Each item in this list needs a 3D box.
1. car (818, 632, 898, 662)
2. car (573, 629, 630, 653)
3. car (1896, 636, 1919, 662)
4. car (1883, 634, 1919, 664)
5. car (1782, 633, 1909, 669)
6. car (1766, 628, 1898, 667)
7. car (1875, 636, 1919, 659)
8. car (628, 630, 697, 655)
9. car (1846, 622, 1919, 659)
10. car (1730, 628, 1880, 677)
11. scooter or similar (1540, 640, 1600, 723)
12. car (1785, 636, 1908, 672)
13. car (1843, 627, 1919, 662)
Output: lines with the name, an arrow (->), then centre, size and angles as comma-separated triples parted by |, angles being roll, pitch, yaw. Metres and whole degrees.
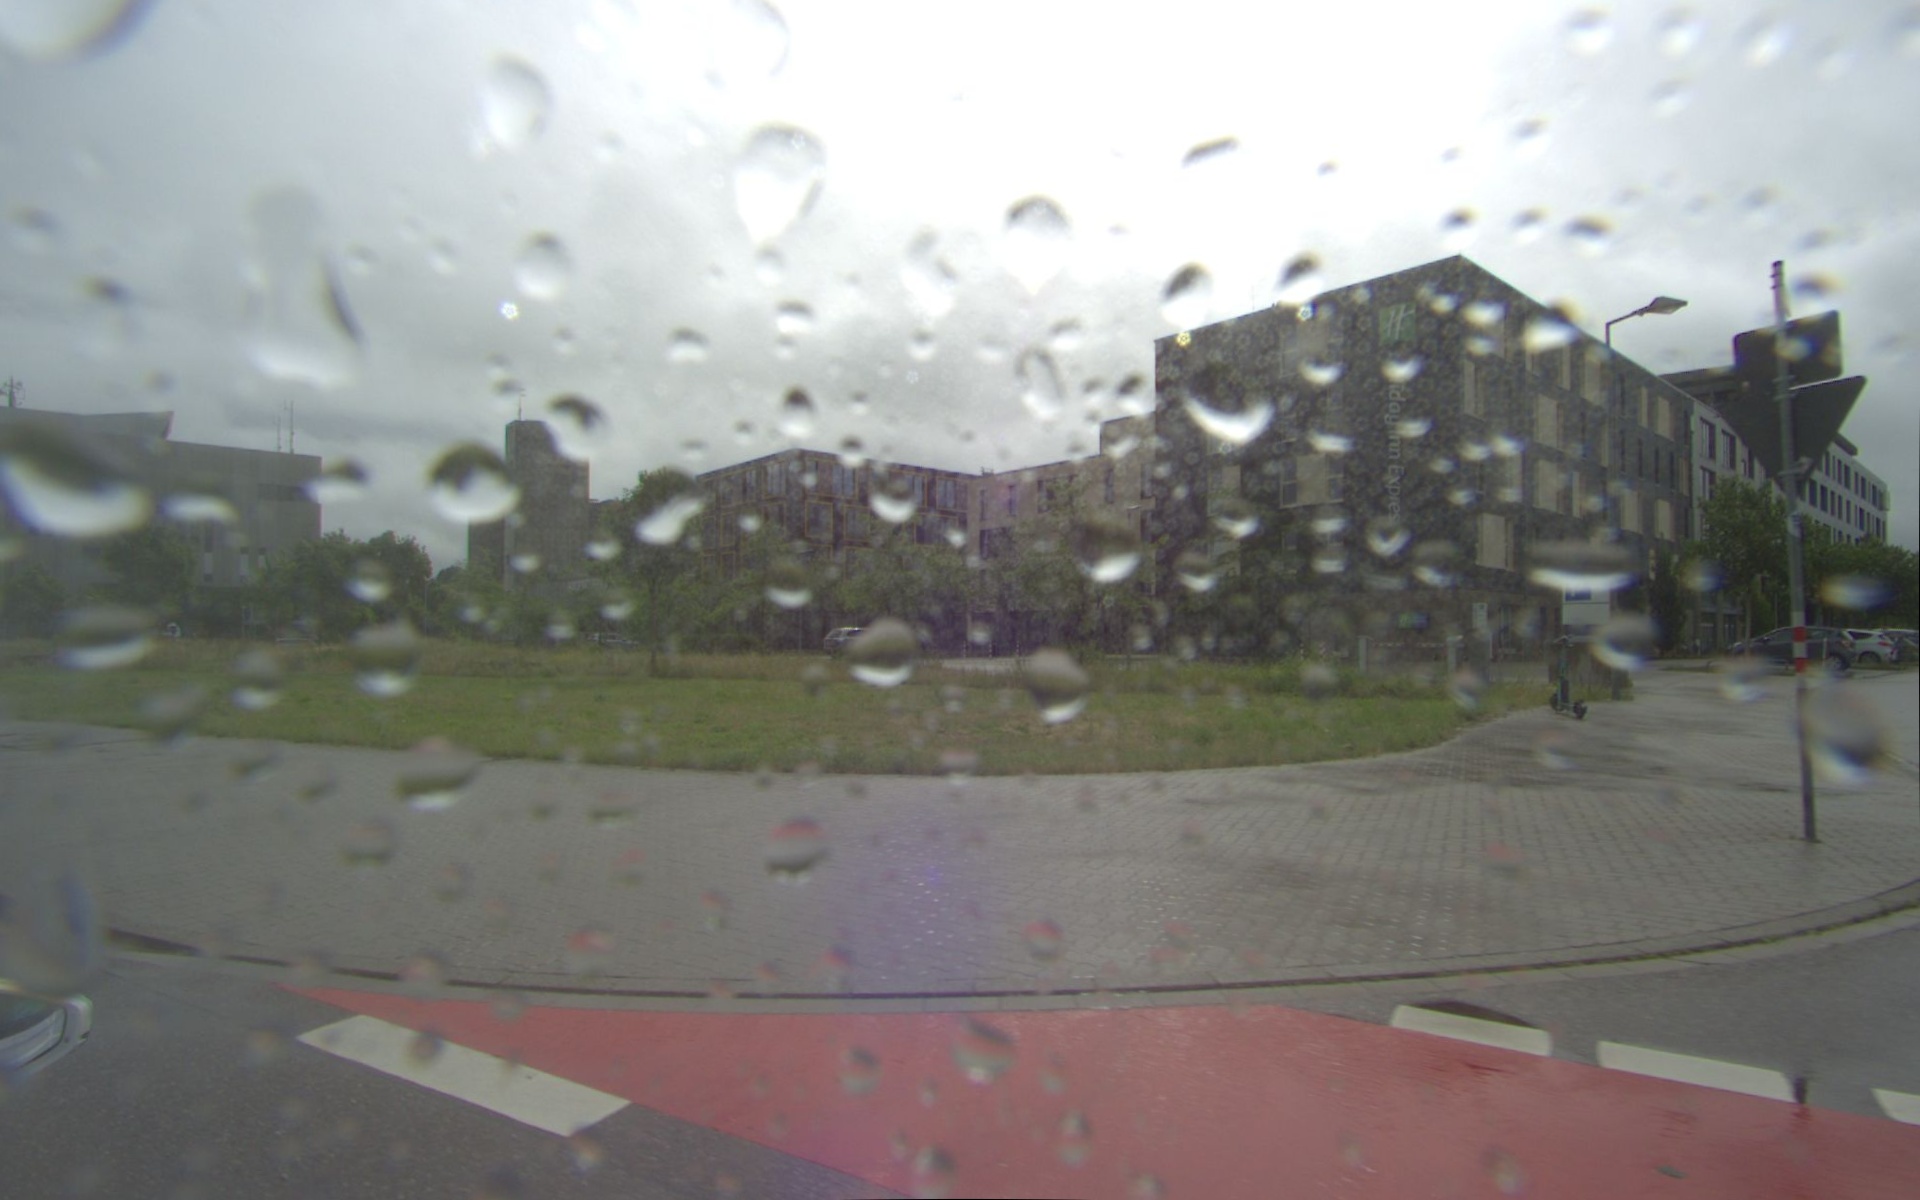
car -> -5.570, 2.554, 55.022 | 4.169, 1.577, 1.654 | 0, -2, -38
car -> -29.041, 3.327, 81.072 | 3.955, 1.741, 1.756 | 5, -4, -38
car -> 66.024, 3.333, 67.727 | 1.769, 1.634, 3.808 | 6, -5, -42
car -> 54.826, 2.782, 56.602 | 1.534, 1.634, 3.808 | 6, -5, -42
car -> 36.487, 2.129, 41.344 | 1.627, 1.413, 3.749 | 4, -5, -41
car -> 34.545, 1.884, 39.731 | 1.752, 1.412, 3.774 | 6, -5, -42
car -> 58.592, 2.908, 61.171 | 1.537, 1.311, 3.869 | 6, -5, -42
car -> -22.048, 3.130, 74.195 | 4.505, 1.784, 1.985 | 2, -2, -38
car -> 43.960, 1.896, 46.722 | 1.769, 1.634, 3.808 | 6, -5, -42
car -> 29.308, 1.804, 34.797 | 1.769, 1.546, 3.808 | 6, -5, -42
scooter or similar -> 9.515, 1.246, 15.652 | 0.494, 1.203, 1.282 | 1, 0, 19
car -> 38.155, 2.314, 43.170 | 1.769, 1.412, 3.808 | 6, -5, -42
car -> 46.107, 2.182, 49.270 | 1.769, 1.634, 3.808 | 6, -5, -42
